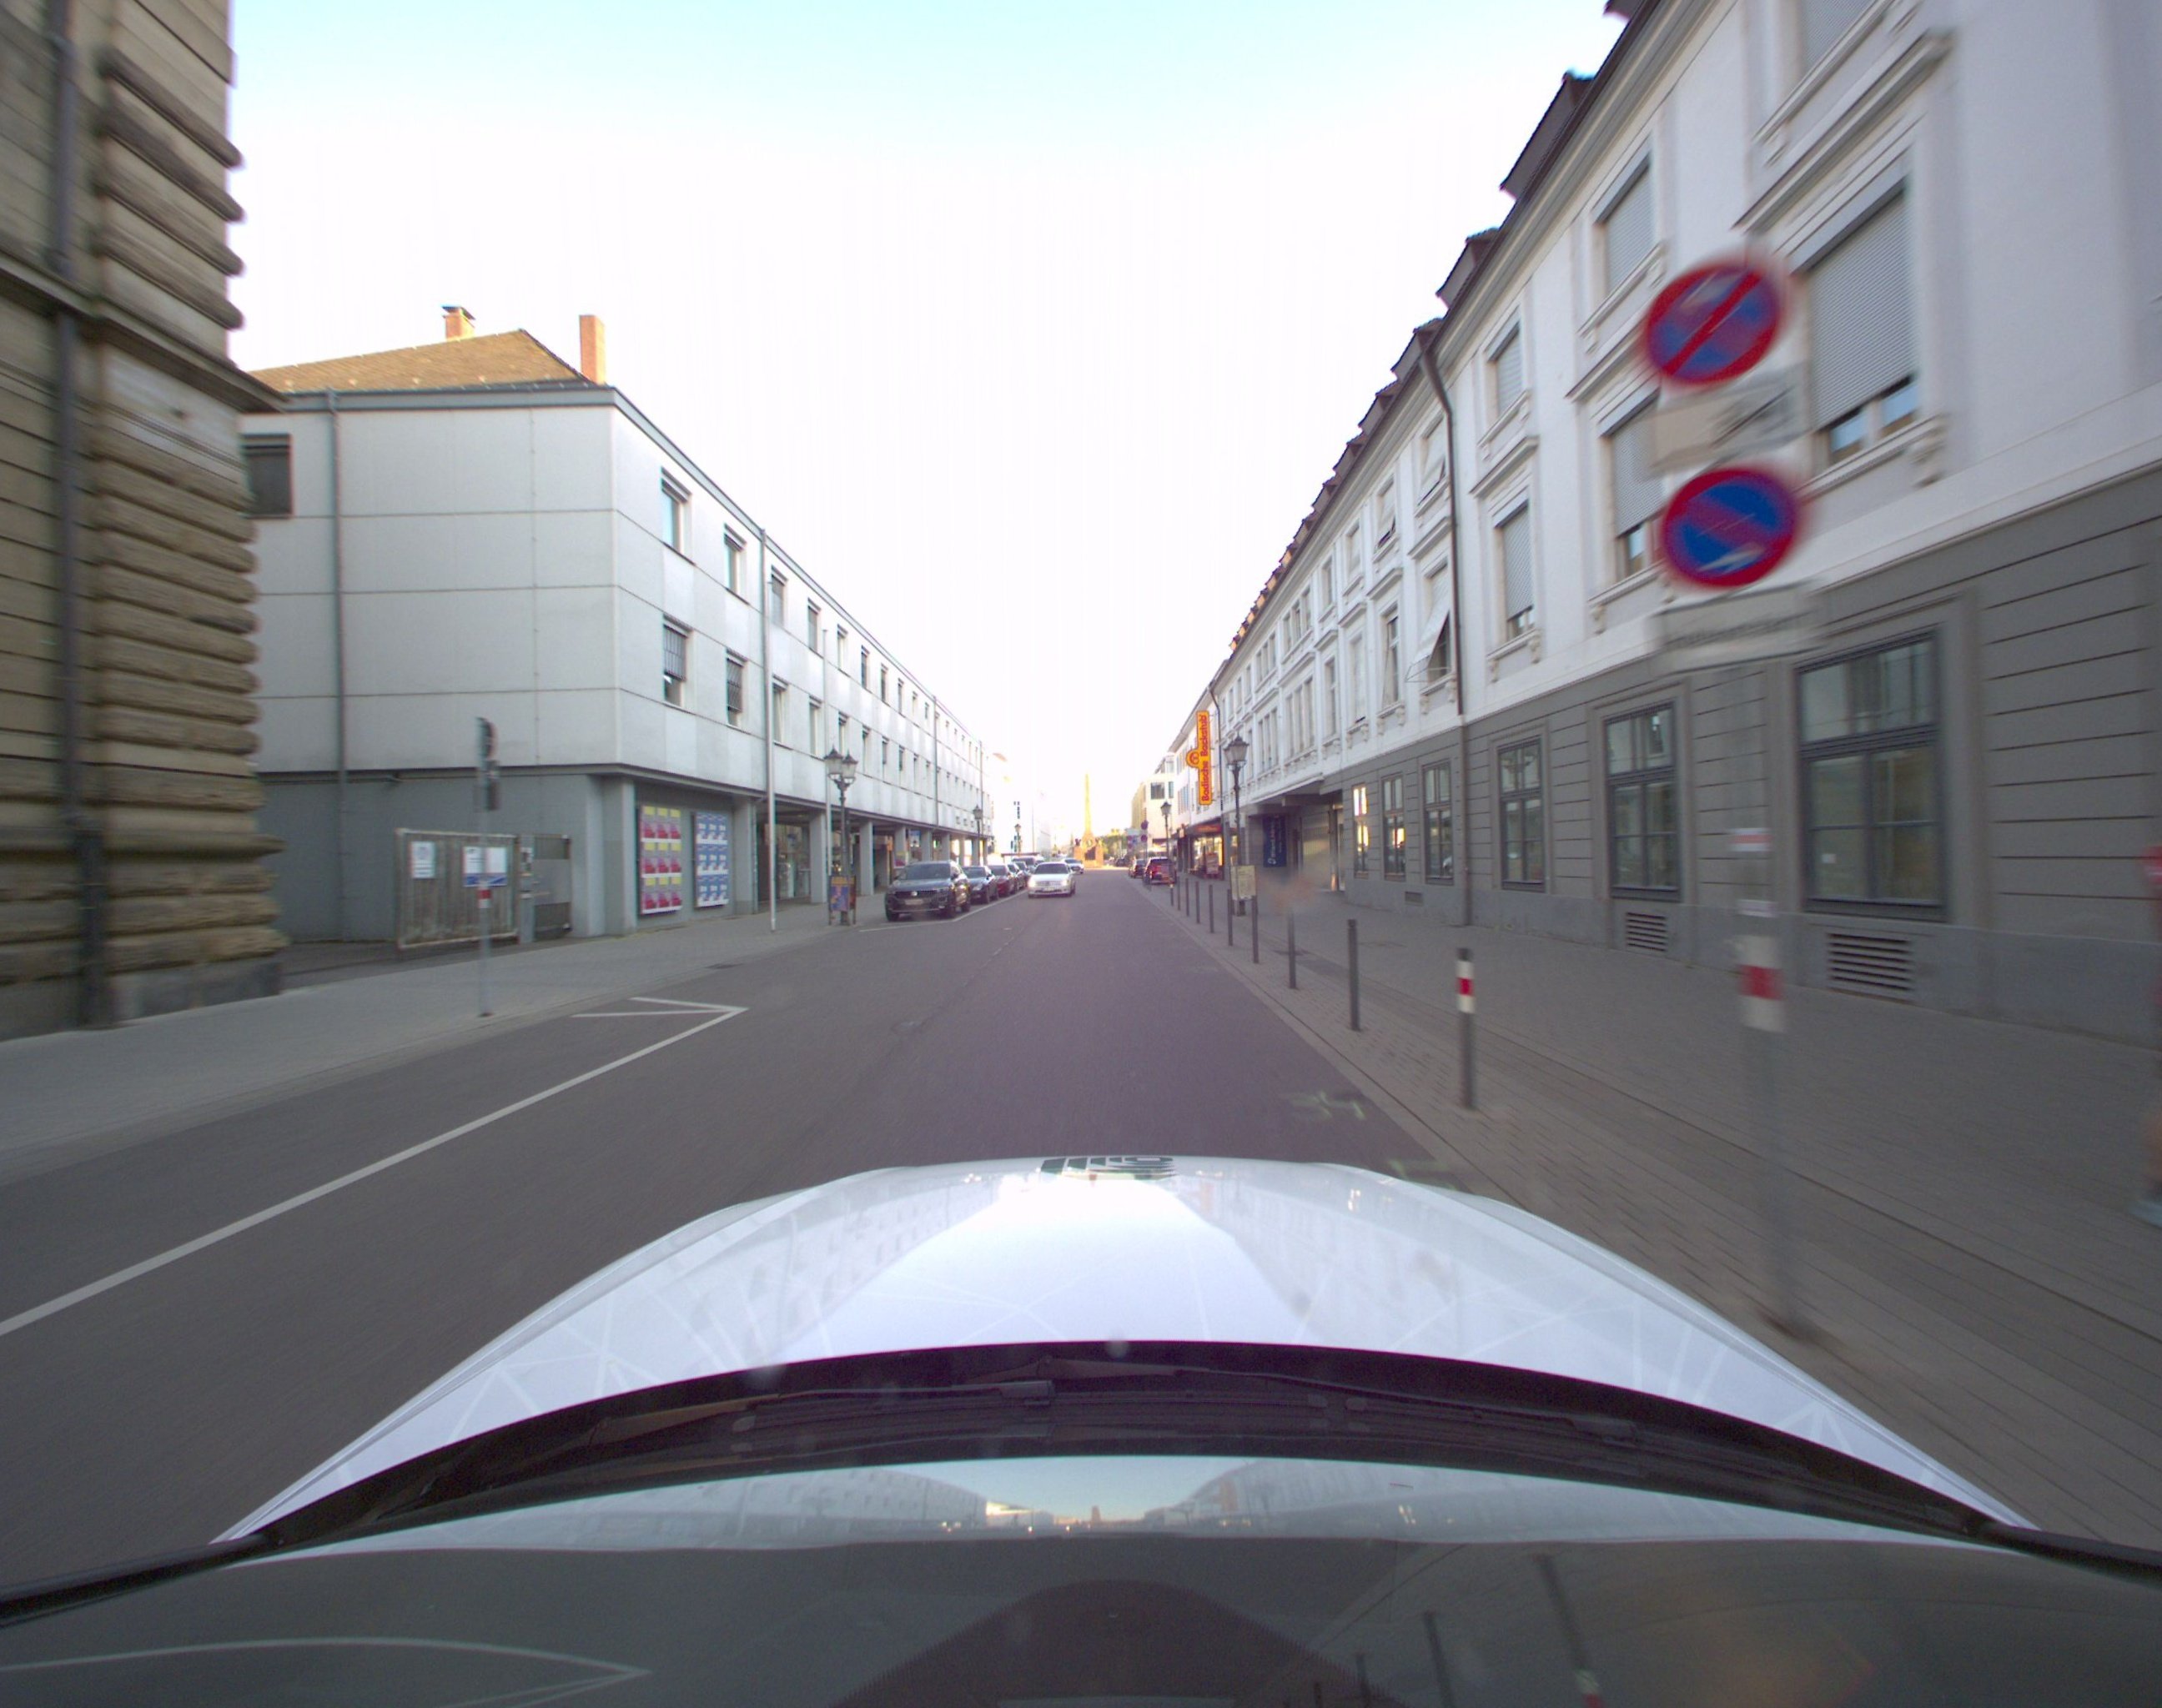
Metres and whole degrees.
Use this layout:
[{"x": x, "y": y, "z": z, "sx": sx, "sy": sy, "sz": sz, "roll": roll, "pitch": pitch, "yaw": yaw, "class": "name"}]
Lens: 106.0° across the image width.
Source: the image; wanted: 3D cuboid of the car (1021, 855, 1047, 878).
[{"x": -4.017, "y": 1.052, "z": 68.389, "sx": 1.991, "sy": 1.816, "sz": 4.774, "roll": -1, "pitch": 0, "yaw": -6, "class": "car"}]

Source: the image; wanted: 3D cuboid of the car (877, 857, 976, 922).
[{"x": -4.214, "y": 0.913, "z": 22.881, "sx": 1.778, "sy": 1.615, "sz": 4.168, "roll": -2, "pitch": 0, "yaw": 2, "class": "car"}]

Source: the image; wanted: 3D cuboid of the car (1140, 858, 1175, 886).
[{"x": 4.376, "y": 1.011, "z": 46.807, "sx": 1.753, "sy": 1.523, "sz": 3.679, "roll": -1, "pitch": 0, "yaw": 2, "class": "car"}]

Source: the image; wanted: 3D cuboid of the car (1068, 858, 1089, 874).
[{"x": -0.226, "y": 1.100, "z": 75.843, "sx": 1.757, "sy": 1.422, "sz": 4.002, "roll": -1, "pitch": 0, "yaw": 2, "class": "car"}]

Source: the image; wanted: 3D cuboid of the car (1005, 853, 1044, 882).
[{"x": -3.568, "y": 0.849, "z": 52.470, "sx": 1.986, "sy": 1.728, "sz": 4.517, "roll": -3, "pitch": 0, "yaw": 2, "class": "car"}]

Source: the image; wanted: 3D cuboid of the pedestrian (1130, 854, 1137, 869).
[{"x": 5.849, "y": 0.860, "z": 91.337, "sx": 0.688, "sy": 1.647, "sz": 0.696, "roll": -2, "pitch": -1, "yaw": 1, "class": "pedestrian"}]

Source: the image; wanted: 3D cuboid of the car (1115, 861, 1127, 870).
[{"x": 7.027, "y": 1.934, "z": 142.310, "sx": 1.985, "sy": 1.464, "sz": 4.003, "roll": -2, "pitch": -1, "yaw": 3, "class": "car"}]

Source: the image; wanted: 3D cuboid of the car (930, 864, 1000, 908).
[{"x": -4.198, "y": 1.136, "z": 30.096, "sx": 1.778, "sy": 1.408, "sz": 4.090, "roll": -2, "pitch": 0, "yaw": 2, "class": "car"}]

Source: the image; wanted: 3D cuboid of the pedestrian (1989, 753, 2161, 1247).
[{"x": 4.212, "y": 0.523, "z": 3.023, "sx": 0.618, "sy": 1.789, "sz": 0.914, "roll": -2, "pitch": -1, "yaw": 3, "class": "pedestrian"}]

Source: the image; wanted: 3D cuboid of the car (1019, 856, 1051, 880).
[{"x": -3.395, "y": 1.015, "z": 60.910, "sx": 1.986, "sy": 1.662, "sz": 4.002, "roll": -1, "pitch": 0, "yaw": 2, "class": "car"}]

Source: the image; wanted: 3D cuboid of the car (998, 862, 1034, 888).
[{"x": -3.708, "y": 1.178, "z": 47.104, "sx": 1.667, "sy": 1.400, "sz": 4.000, "roll": -2, "pitch": 0, "yaw": 1, "class": "car"}]

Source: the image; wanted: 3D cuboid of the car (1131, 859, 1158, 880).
[{"x": 4.717, "y": 1.116, "z": 60.656, "sx": 1.795, "sy": 1.464, "sz": 4.119, "roll": -1, "pitch": 0, "yaw": 2, "class": "car"}]

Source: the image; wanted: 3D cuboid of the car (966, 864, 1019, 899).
[{"x": -4.021, "y": 1.222, "z": 37.482, "sx": 1.778, "sy": 1.408, "sz": 4.090, "roll": -2, "pitch": 0, "yaw": 2, "class": "car"}]

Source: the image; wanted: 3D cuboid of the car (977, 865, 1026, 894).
[{"x": -3.992, "y": 1.266, "z": 41.517, "sx": 1.986, "sy": 1.354, "sz": 4.002, "roll": -1, "pitch": 0, "yaw": 2, "class": "car"}]

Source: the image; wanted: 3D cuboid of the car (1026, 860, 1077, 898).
[{"x": -1.153, "y": 1.002, "z": 33.669, "sx": 1.778, "sy": 1.408, "sz": 4.090, "roll": -2, "pitch": 0, "yaw": 2, "class": "car"}]

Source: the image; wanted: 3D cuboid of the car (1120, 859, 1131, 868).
[{"x": 8.189, "y": 1.746, "z": 150.769, "sx": 1.985, "sy": 1.464, "sz": 4.003, "roll": -2, "pitch": -1, "yaw": 3, "class": "car"}]
